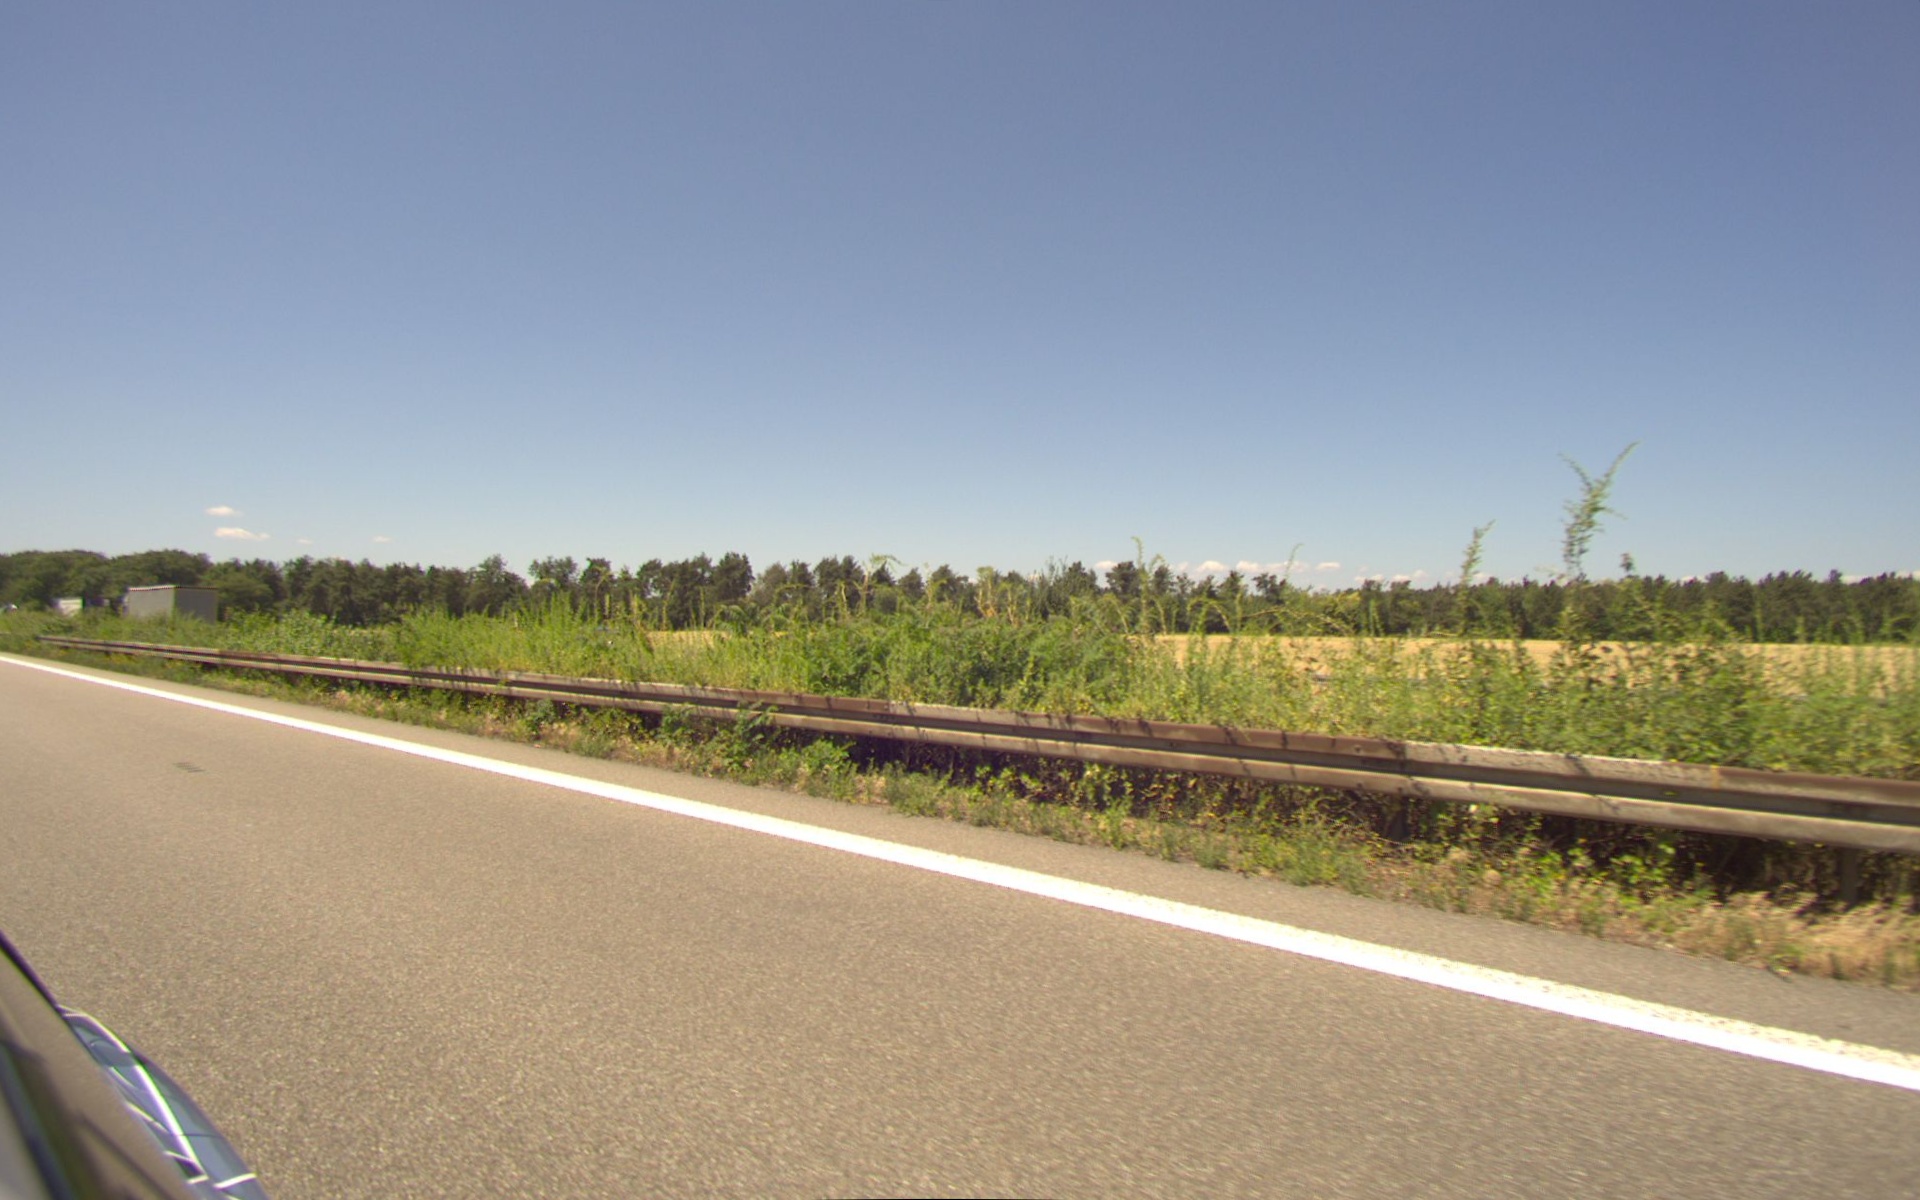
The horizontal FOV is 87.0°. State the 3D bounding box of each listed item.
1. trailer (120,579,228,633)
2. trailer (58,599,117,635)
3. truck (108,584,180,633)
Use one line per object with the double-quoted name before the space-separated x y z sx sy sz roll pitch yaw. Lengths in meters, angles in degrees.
"trailer" -58.469 0.521 75.068 14.369 3.726 3.316 -1 0 40
"trailer" -96.480 1.877 111.783 14.377 3.726 3.077 -1 0 42
"truck" -64.755 0.664 80.296 6.059 3.726 3.316 -1 0 40
